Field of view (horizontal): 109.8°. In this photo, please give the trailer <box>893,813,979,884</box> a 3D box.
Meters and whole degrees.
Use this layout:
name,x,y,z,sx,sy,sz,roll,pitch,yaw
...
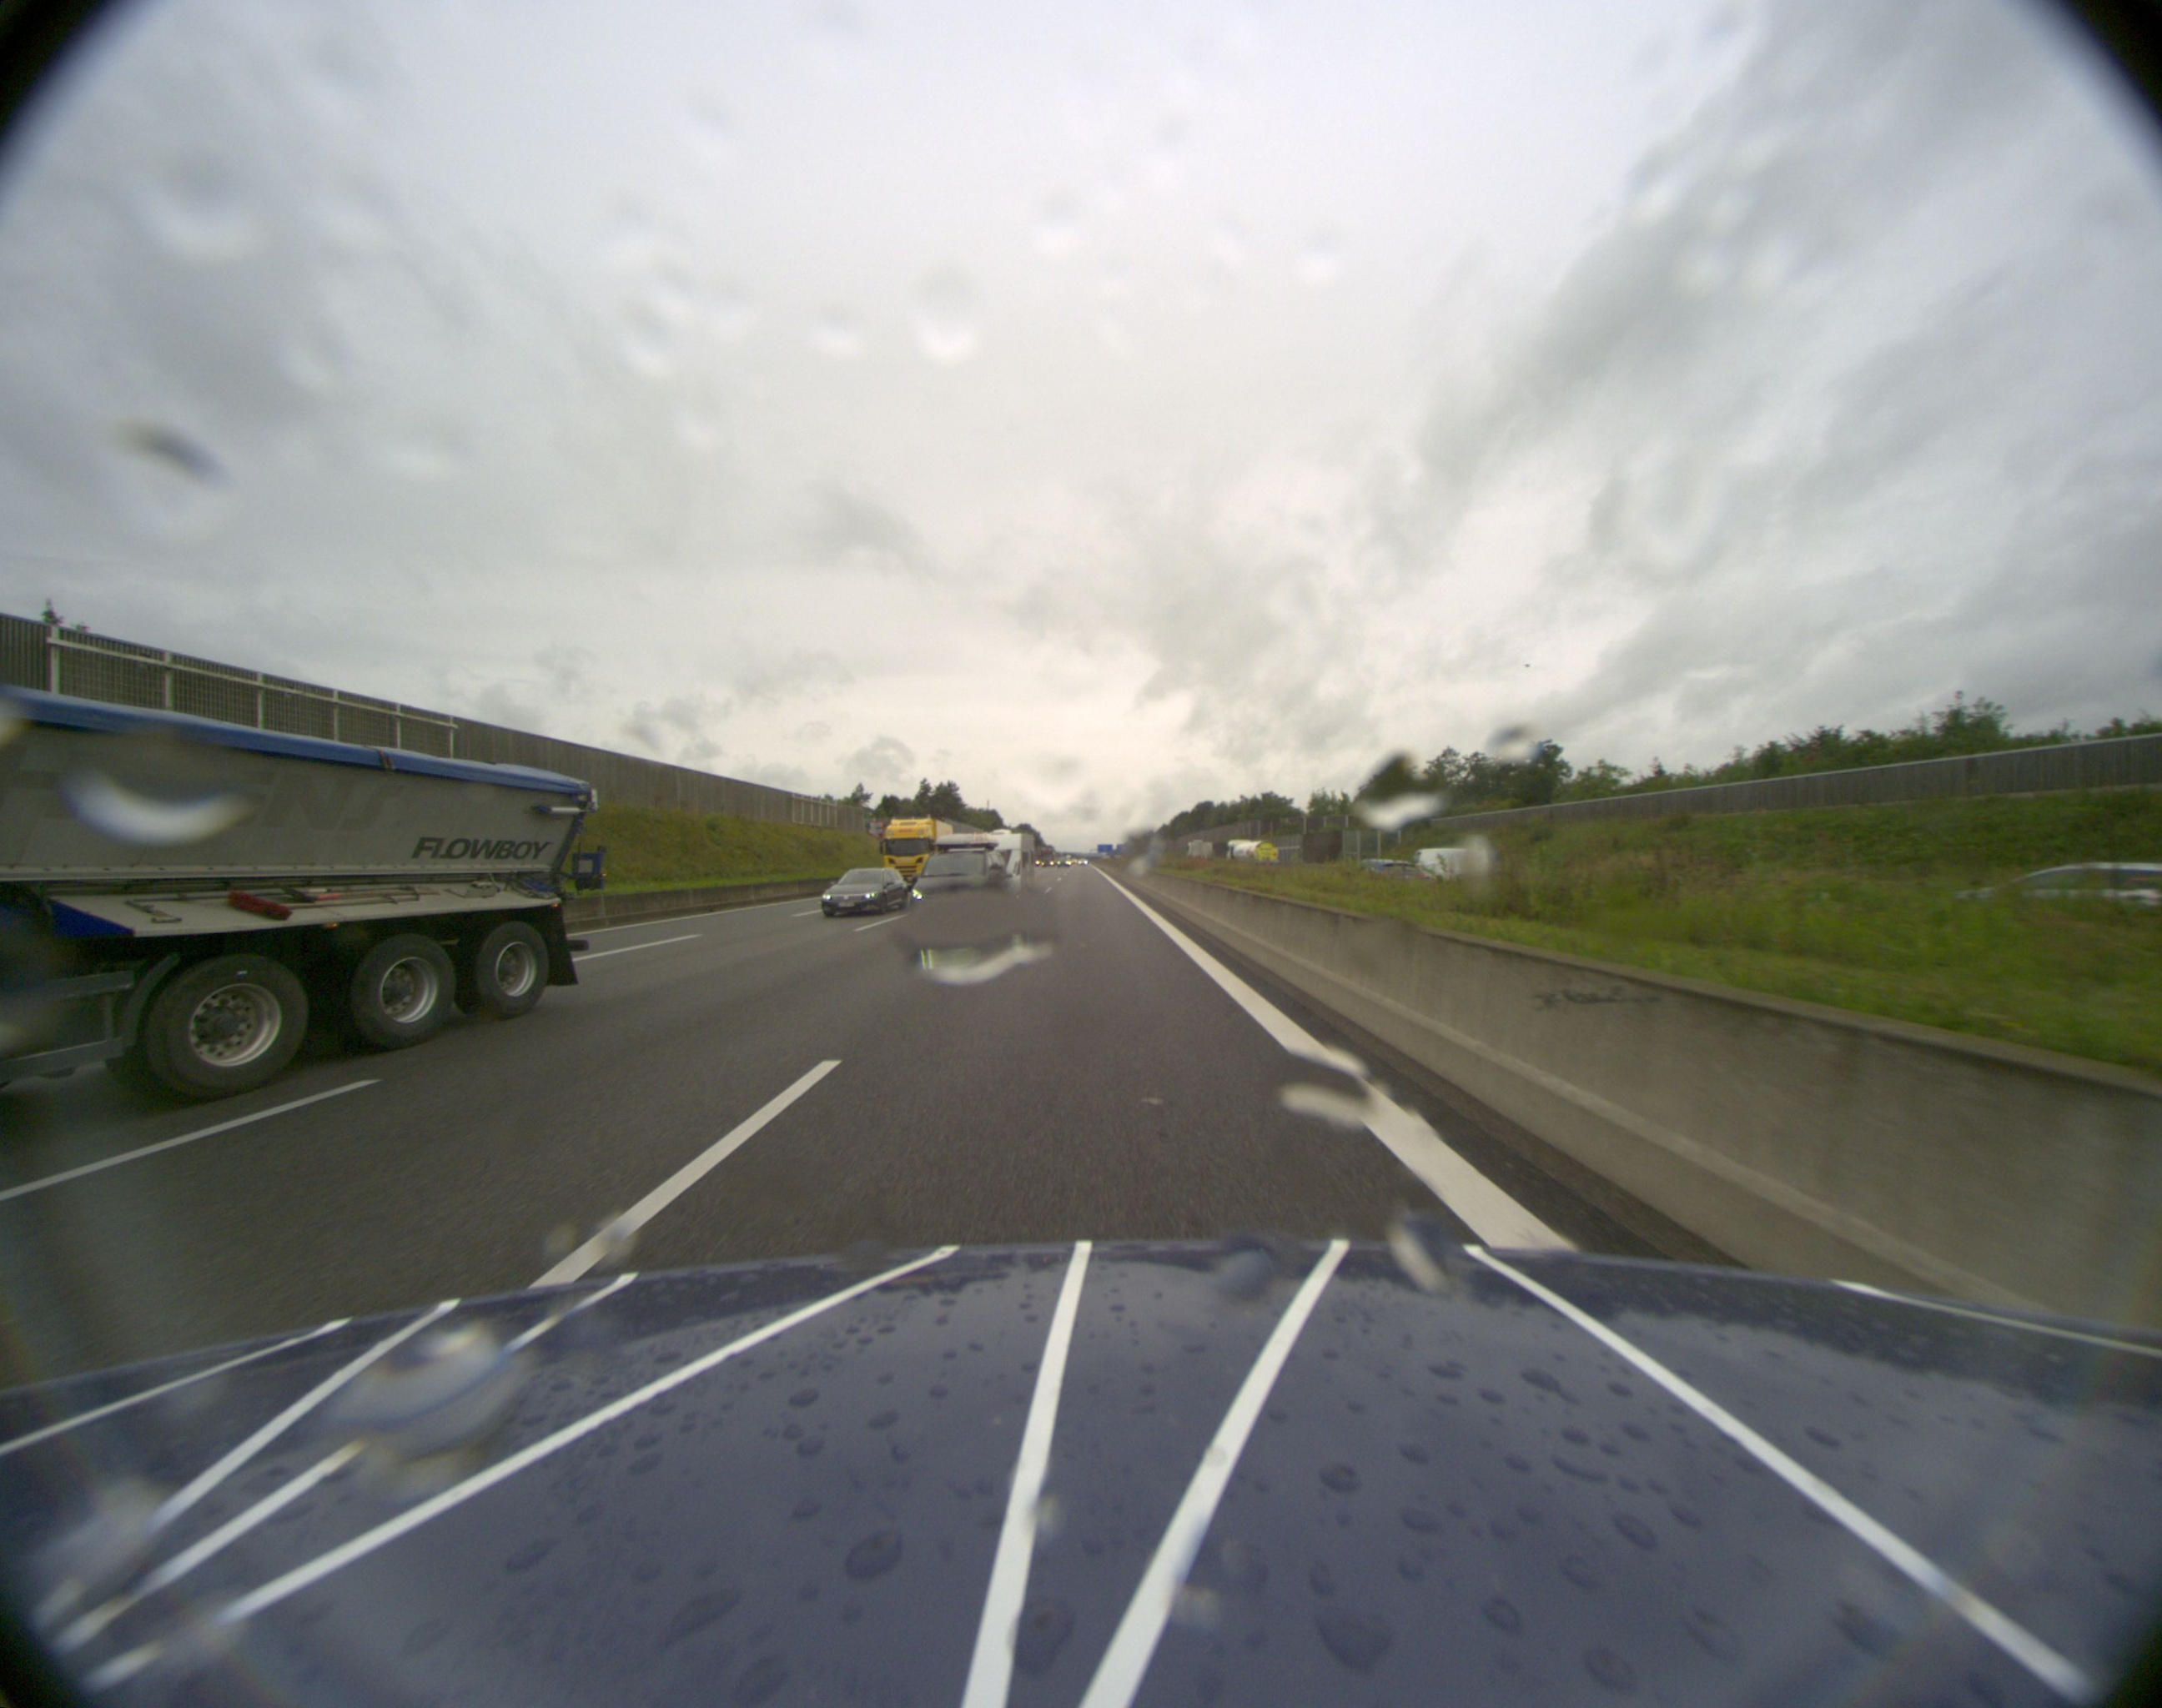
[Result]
name,x,y,z,sx,sy,sz,roll,pitch,yaw
trailer,-9.392,-0.342,51.648,2.658,3.930,16.683,-3,0,-1

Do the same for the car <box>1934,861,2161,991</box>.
name,x,y,z,sx,sy,sz,roll,pitch,yaw
car,18.564,1.188,13.316,1.998,2.002,4.652,-2,0,1

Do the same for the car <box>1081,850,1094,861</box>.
name,x,y,z,sx,sy,sz,roll,pitch,yaw
car,1.378,0.292,170.192,2.680,2.340,5.807,-1,0,-2

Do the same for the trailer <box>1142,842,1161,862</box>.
name,x,y,z,sx,sy,sz,roll,pitch,yaw
trailer,17.923,-0.519,194.649,3.225,4.857,13.524,-3,0,-1

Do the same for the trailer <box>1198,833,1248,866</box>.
name,x,y,z,sx,sy,sz,roll,pitch,yaw
trailer,13.975,-0.427,75.533,2.963,2.942,10.568,-3,0,1

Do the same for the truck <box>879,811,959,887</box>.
name,x,y,z,sx,sy,sz,roll,pitch,yaw
truck,-9.310,-0.286,44.873,2.693,3.935,9.325,-3,0,-1

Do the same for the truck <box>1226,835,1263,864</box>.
name,x,y,z,sx,sy,sz,roll,pitch,yaw
truck,18.080,-0.496,84.311,2.628,3.002,5.612,-3,0,-1

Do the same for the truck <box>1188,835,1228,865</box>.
name,x,y,z,sx,sy,sz,roll,pitch,yaw
truck,14.115,-0.459,85.219,2.963,3.049,8.727,-3,0,1

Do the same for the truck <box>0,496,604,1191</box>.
name,x,y,z,sx,sy,sz,roll,pitch,yaw
truck,-7.498,-0.031,3.320,2.820,3.927,12.711,-2,0,-1

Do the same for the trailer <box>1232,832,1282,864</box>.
name,x,y,z,sx,sy,sz,roll,pitch,yaw
trailer,18.179,-0.567,79.223,2.618,2.971,10.796,-2,0,0

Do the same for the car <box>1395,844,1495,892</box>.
name,x,y,z,sx,sy,sz,roll,pitch,yaw
car,17.078,0.597,36.084,1.911,2.002,5.954,-2,0,1

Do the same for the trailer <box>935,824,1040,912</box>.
name,x,y,z,sx,sy,sz,roll,pitch,yaw
trailer,-3.047,0.430,26.838,2.728,2.627,7.511,-1,0,0

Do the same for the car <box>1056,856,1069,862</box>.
name,x,y,z,sx,sy,sz,roll,pitch,yaw
car,-3.195,0.838,133.577,2.061,1.020,3.438,-3,0,0

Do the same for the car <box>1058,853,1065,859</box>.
name,x,y,z,sx,sy,sz,roll,pitch,yaw
car,-5.842,0.559,232.839,1.998,1.747,4.000,-2,0,0

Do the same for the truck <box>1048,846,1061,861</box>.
name,x,y,z,sx,sy,sz,roll,pitch,yaw
truck,-5.712,-0.111,163.647,2.617,3.218,4.632,-1,0,0

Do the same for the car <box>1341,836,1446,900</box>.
name,x,y,z,sx,sy,sz,roll,pitch,yaw
car,10.881,0.450,26.795,1.999,2.002,3.999,-2,0,-1

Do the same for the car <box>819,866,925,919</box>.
name,x,y,z,sx,sy,sz,roll,pitch,yaw
car,-6.726,1.172,25.101,1.944,1.419,5.289,-3,0,0

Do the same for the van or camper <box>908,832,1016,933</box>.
name,x,y,z,sx,sy,sz,roll,pitch,yaw
van or camper,-2.964,0.660,20.173,1.895,2.256,5.679,-2,0,0
